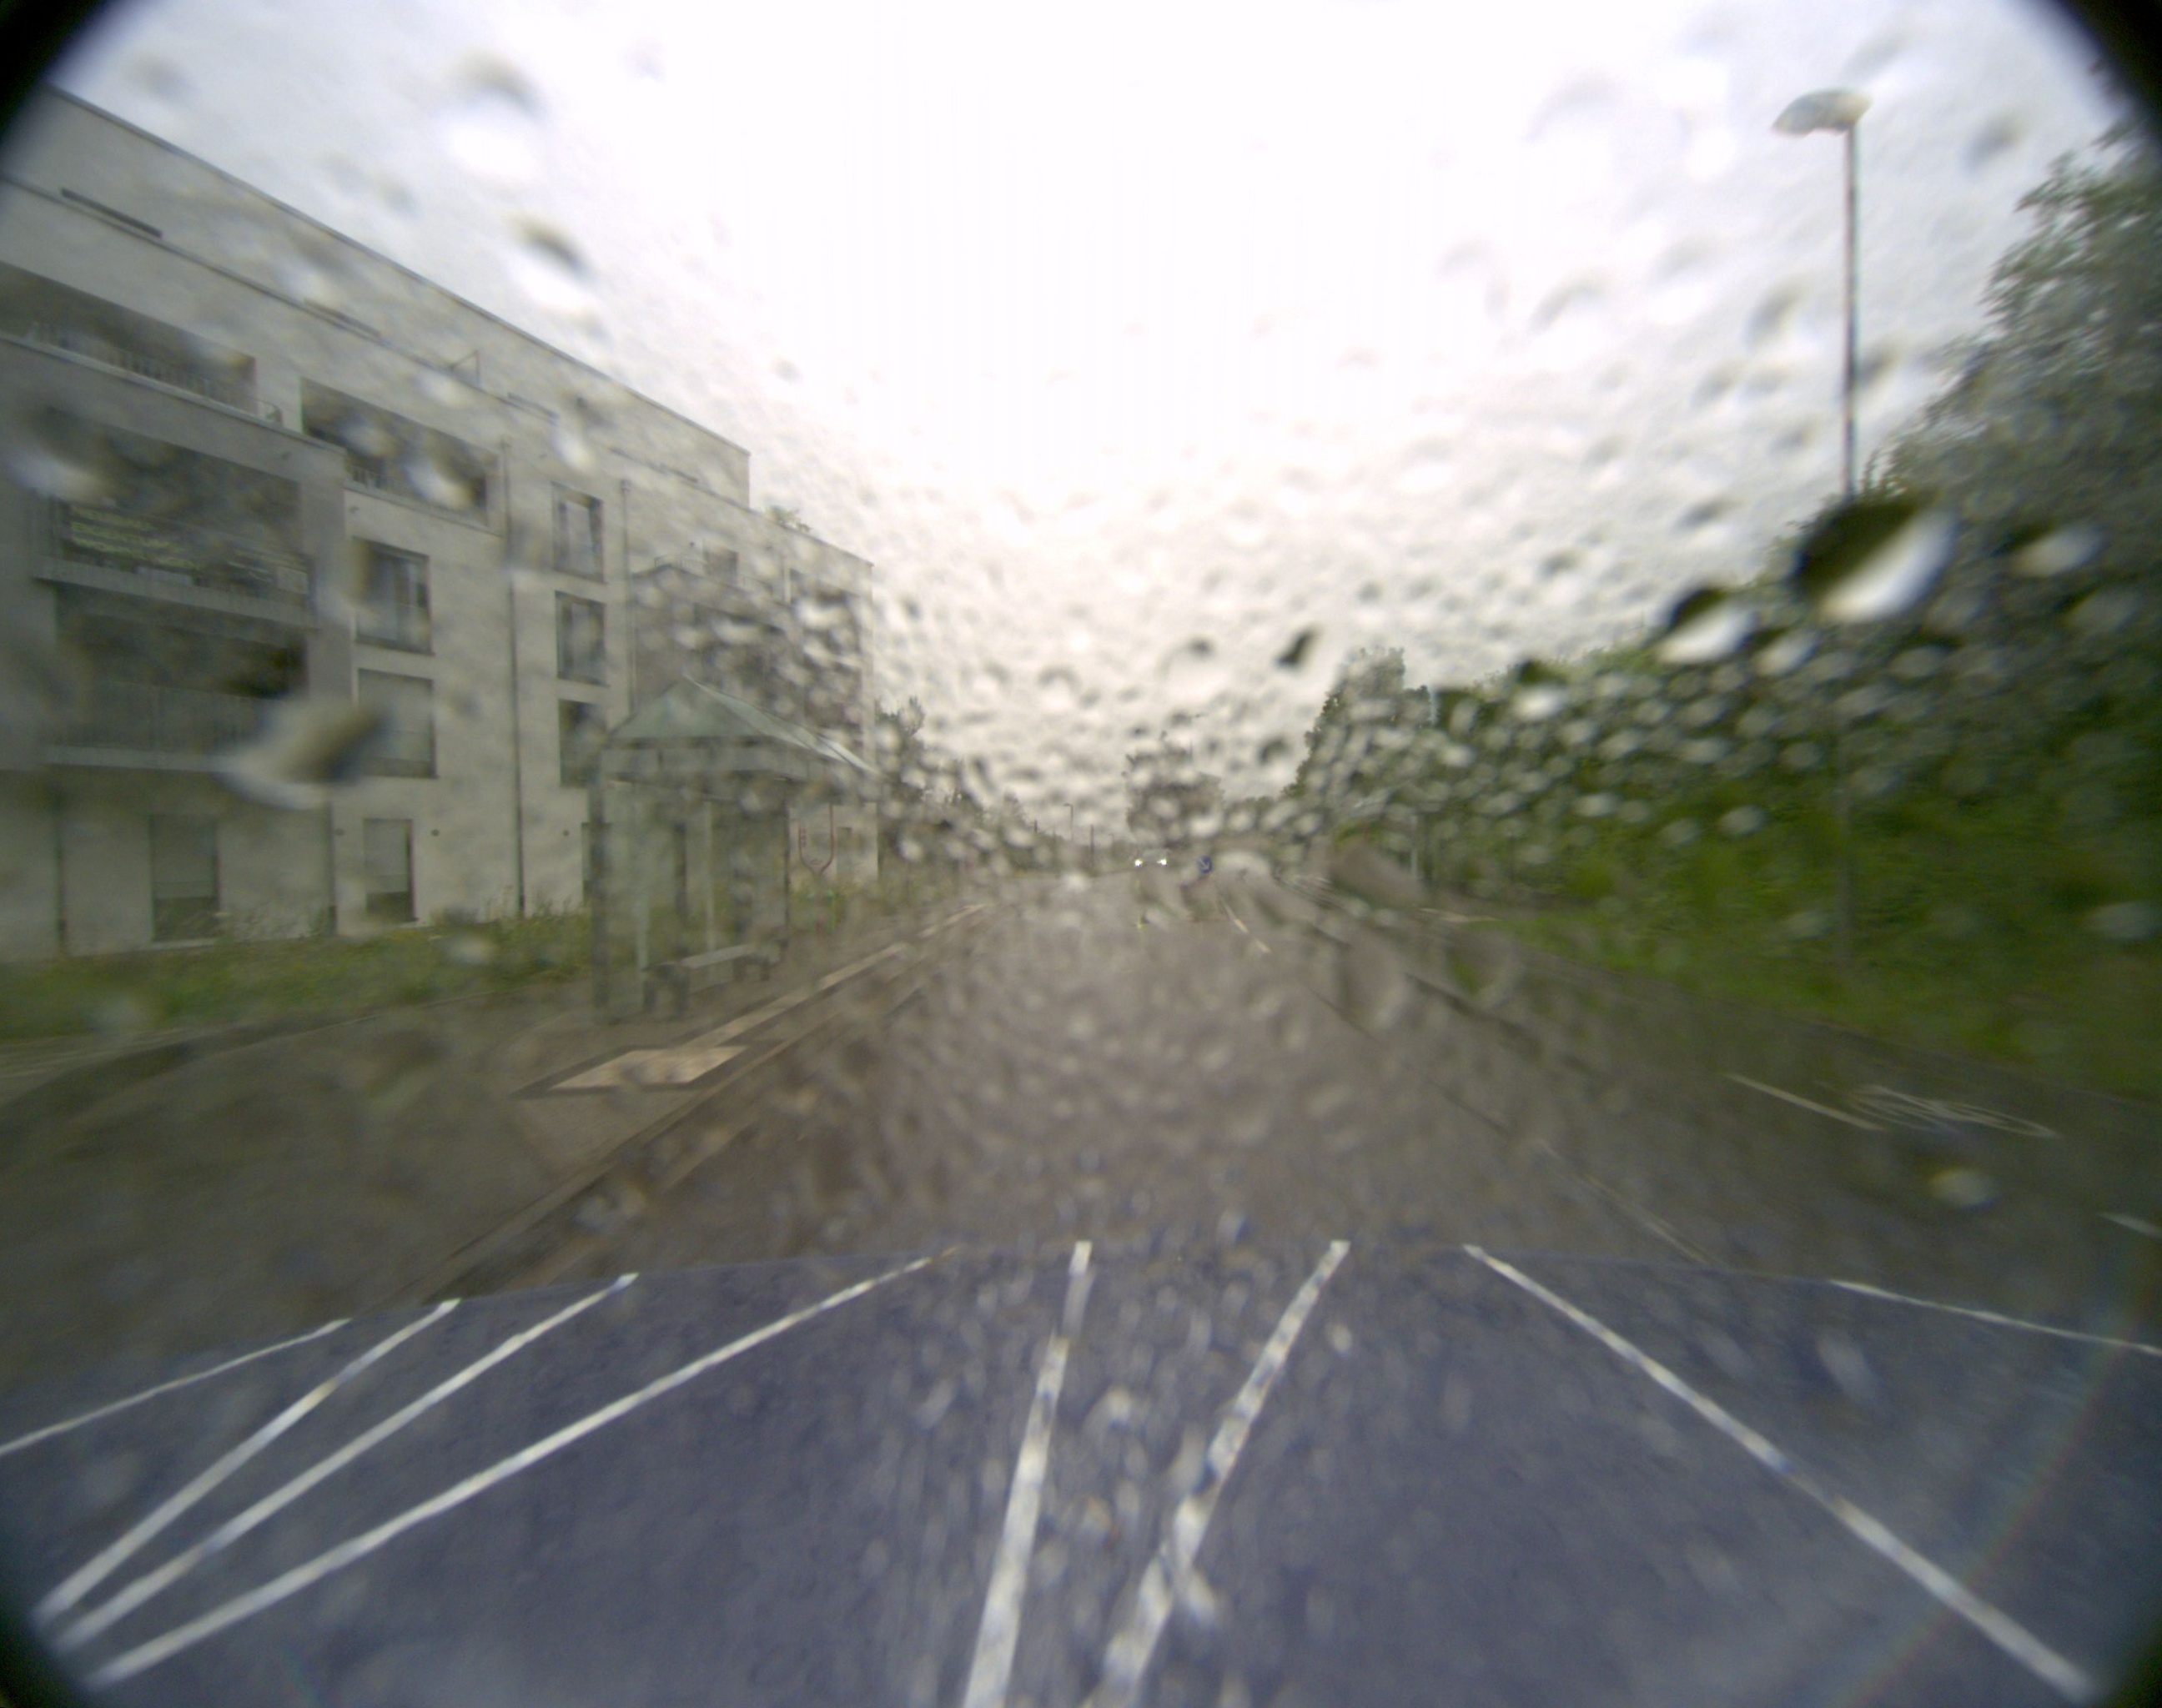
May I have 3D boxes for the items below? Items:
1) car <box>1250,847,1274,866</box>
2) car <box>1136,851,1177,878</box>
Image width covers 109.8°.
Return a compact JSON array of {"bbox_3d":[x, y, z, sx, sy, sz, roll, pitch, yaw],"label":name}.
[{"bbox_3d":[13.808,0.148,57.766,1.574,1.402,3.478,1,1,16],"label":"car"},{"bbox_3d":[4.386,0.607,43.522,1.763,1.477,3.796,-1,-1,14],"label":"car"}]
